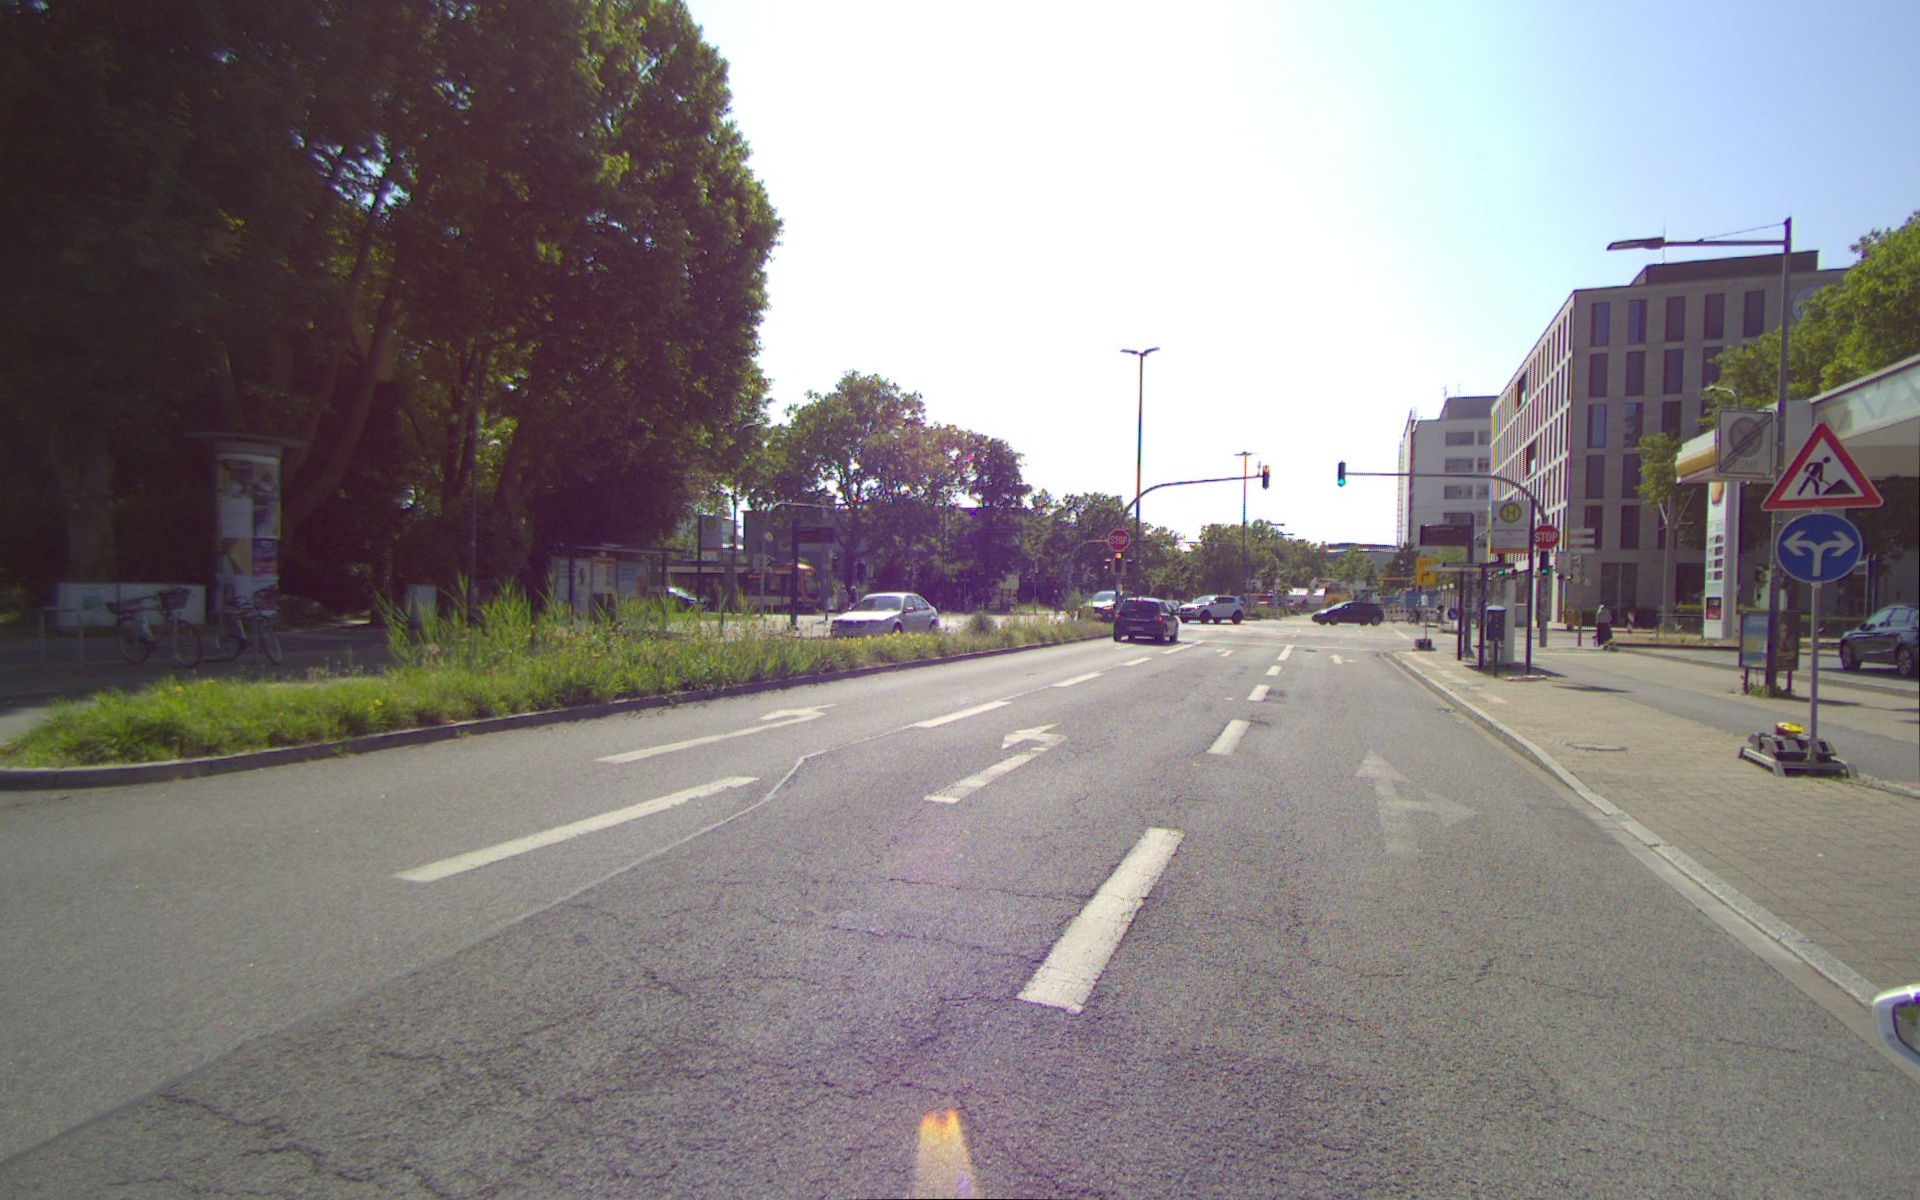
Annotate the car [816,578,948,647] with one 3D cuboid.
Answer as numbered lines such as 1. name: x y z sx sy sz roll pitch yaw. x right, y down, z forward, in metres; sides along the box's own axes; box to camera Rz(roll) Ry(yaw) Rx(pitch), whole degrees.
1. car: -1.947 0.312 26.633 1.859 1.632 4.518 1 0 19

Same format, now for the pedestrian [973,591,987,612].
1. pedestrian: 1.605 0.145 80.721 0.647 1.633 0.936 2 1 43

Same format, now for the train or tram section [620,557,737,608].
1. train or tram section: -19.666 -1.203 70.217 7.430 3.376 3.120 2 0 19

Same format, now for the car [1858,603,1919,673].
1. car: 21.038 0.820 21.759 1.626 1.417 3.634 2 0 30

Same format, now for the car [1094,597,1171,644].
1. car: 5.861 0.653 33.825 1.960 1.417 4.001 2 0 18

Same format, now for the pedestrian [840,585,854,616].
1. pedestrian: -6.416 0.033 56.953 0.647 1.749 0.753 1 0 2

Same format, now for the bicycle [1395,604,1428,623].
1. bicycle: 33.359 0.987 74.217 2.195 1.302 0.524 2 1 29

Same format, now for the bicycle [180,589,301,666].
1. bicycle: -11.514 0.414 16.081 1.815 1.137 0.693 2 1 22

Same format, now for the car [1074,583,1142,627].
1. car: 7.335 0.235 49.434 1.962 2.040 4.866 2 0 25

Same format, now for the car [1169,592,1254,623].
1. car: 14.740 0.436 58.859 4.813 1.658 1.984 1 1 -31

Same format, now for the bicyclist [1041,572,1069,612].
1. bicyclist: 7.306 -0.618 77.252 1.573 2.970 2.353 2 0 20

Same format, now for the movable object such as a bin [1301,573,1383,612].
1. movable object such as a bin: 48.449 -0.935 127.416 9.519 4.611 3.162 2 1 22

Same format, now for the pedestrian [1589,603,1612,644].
1. pedestrian: 24.799 0.905 38.915 0.608 1.564 0.461 2 1 19

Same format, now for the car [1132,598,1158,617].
1. car: 16.002 0.613 86.961 1.715 1.530 3.966 1 0 3

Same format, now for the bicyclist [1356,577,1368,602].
1. bicyclist: 42.780 -1.138 106.984 1.053 2.608 0.827 2 1 26

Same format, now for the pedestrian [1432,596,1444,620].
1. pedestrian: 35.319 0.575 74.250 0.519 1.795 0.720 2 1 7

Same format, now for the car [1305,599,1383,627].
1. car: 23.851 0.790 62.500 4.043 1.661 2.000 1 0 -1

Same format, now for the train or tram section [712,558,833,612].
1. train or tram section: -12.652 -1.019 67.813 7.430 3.376 3.120 2 0 19

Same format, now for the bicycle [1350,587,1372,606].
1. bicycle: 42.730 -0.391 107.012 2.055 1.988 0.827 2 1 26

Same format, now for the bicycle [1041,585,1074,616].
1. bicycle: 7.571 0.026 78.025 1.573 2.299 4.000 2 0 20

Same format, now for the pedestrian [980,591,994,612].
1. pedestrian: 2.138 0.096 80.038 0.647 1.633 0.936 2 1 43

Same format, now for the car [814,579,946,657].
1. car: -1.990 0.387 26.532 1.960 1.661 4.395 1 4 18

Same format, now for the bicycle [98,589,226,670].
1. bicycle: -12.018 0.418 15.127 1.815 1.121 0.693 2 1 22

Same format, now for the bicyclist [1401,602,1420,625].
1. bicyclist: 33.302 0.991 74.243 1.221 1.696 0.524 2 1 29

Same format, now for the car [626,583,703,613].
1. car: -15.047 -0.117 51.160 3.440 1.395 1.638 1 0 18

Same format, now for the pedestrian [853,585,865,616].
1. pedestrian: -5.730 0.046 56.916 0.557 1.749 0.734 1 0 2
